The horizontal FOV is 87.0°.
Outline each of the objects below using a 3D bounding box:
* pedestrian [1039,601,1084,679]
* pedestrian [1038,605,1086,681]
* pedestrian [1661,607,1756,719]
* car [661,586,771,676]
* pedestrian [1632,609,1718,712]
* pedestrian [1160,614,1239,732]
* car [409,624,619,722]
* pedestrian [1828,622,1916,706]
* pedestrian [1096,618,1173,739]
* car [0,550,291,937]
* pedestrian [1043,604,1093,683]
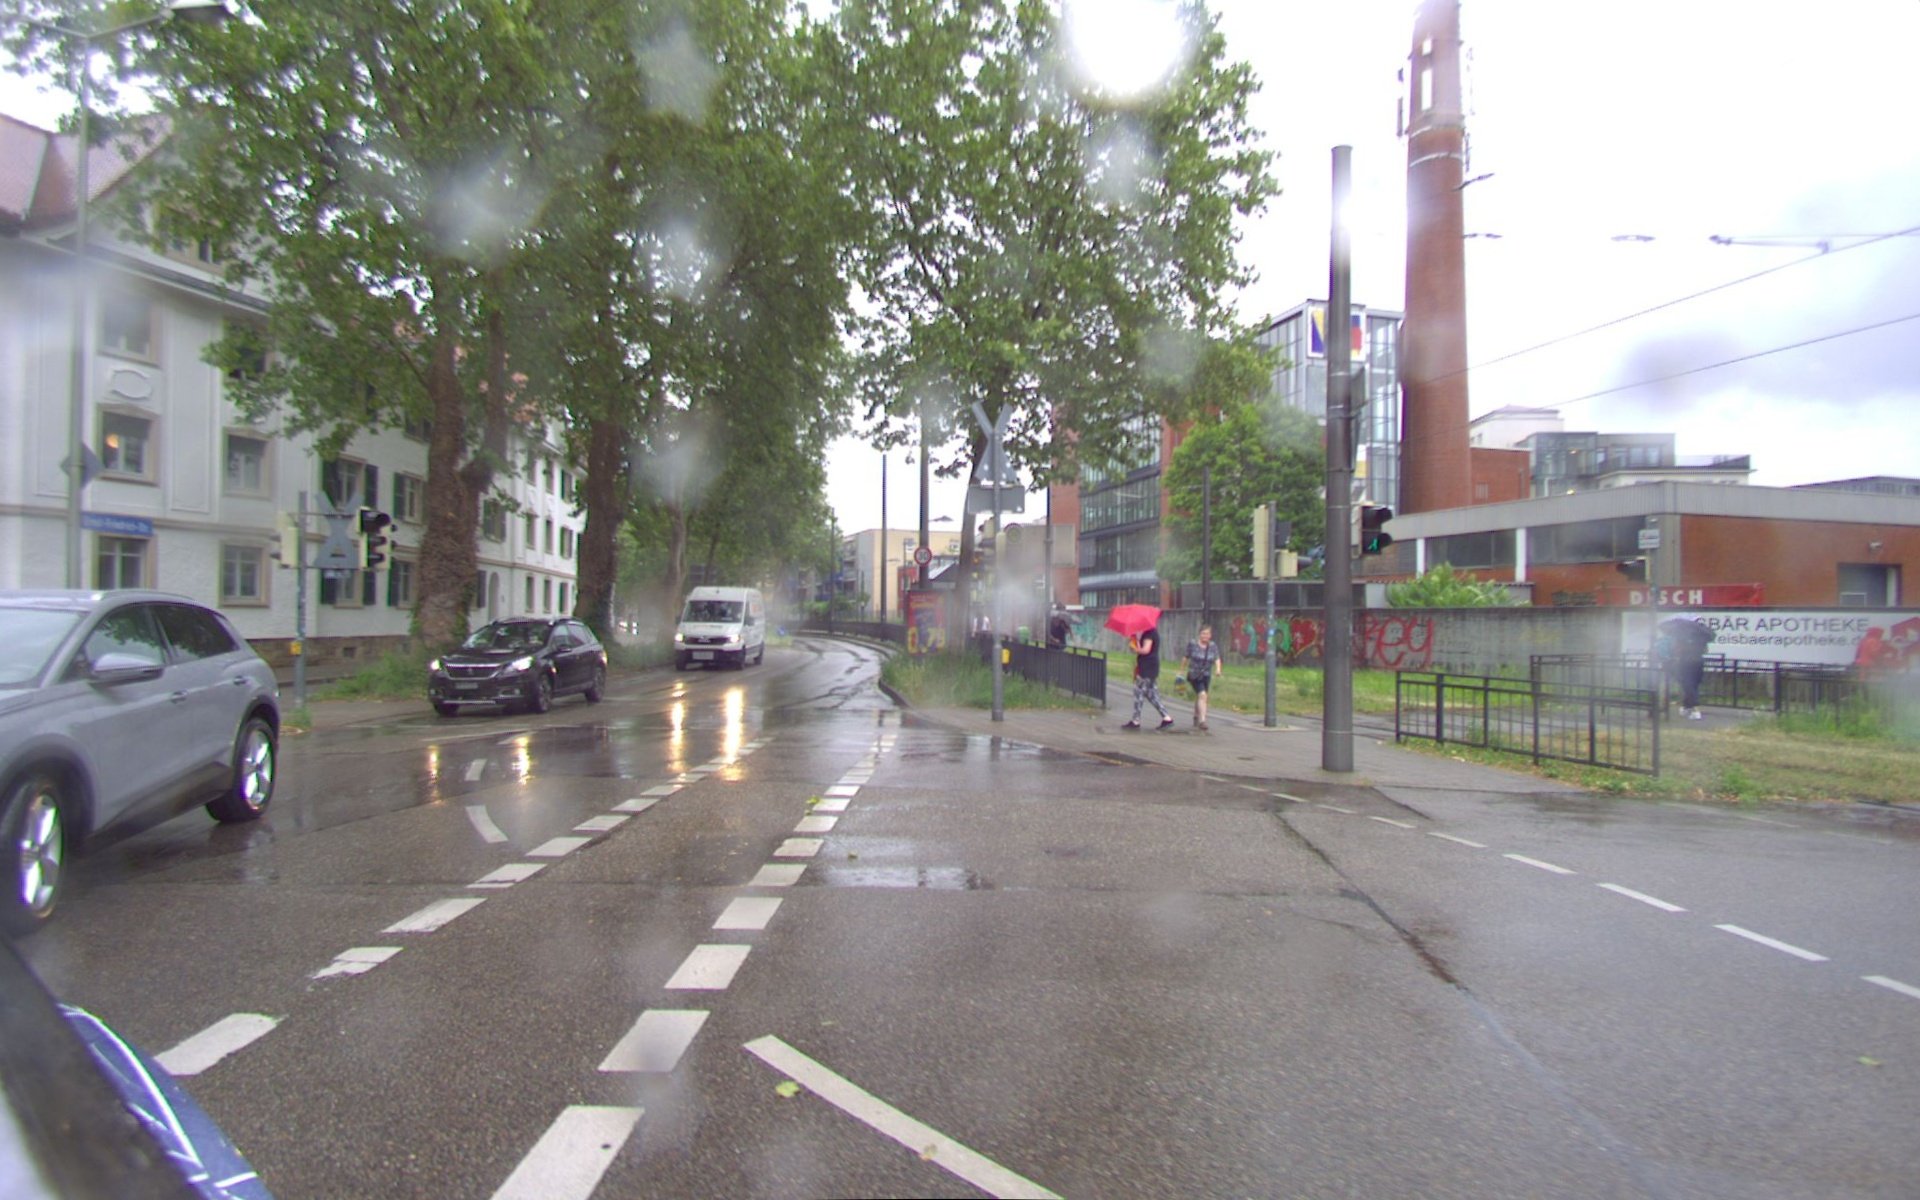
[{"bbox_3d":[2.456,0.973,24.577,0.846,1.846,0.851,1,-3,-13],"label":"pedestrian"},{"bbox_3d":[2.341,0.985,23.237,0.846,1.701,0.851,1,-2,-13],"label":"pedestrian"},{"bbox_3d":[12.935,1.072,17.515,0.835,1.876,0.958,0,-2,-12],"label":"pedestrian"},{"bbox_3d":[-7.591,0.947,32.251,2.250,2.582,6.515,0,-1,-3],"label":"car"},{"bbox_3d":[13.431,1.122,19.034,0.835,1.876,0.958,0,-2,-12],"label":"pedestrian"},{"bbox_3d":[3.566,1.070,15.140,0.846,1.701,0.851,1,-2,-13],"label":"pedestrian"},{"bbox_3d":[-7.267,1.150,16.963,1.828,1.455,4.001,0,-2,-1],"label":"car"},{"bbox_3d":[16.865,1.177,18.733,0.835,1.516,0.831,0,-2,-12],"label":"pedestrian"},{"bbox_3d":[2.538,1.128,14.787,0.835,1.701,0.862,0,-2,-12],"label":"pedestrian"},{"bbox_3d":[-5.335,0.652,5.433,1.779,1.633,4.149,1,-2,-17],"label":"car"},{"bbox_3d":[2.374,0.962,22.336,0.846,1.701,0.851,1,-2,-13],"label":"pedestrian"}]
